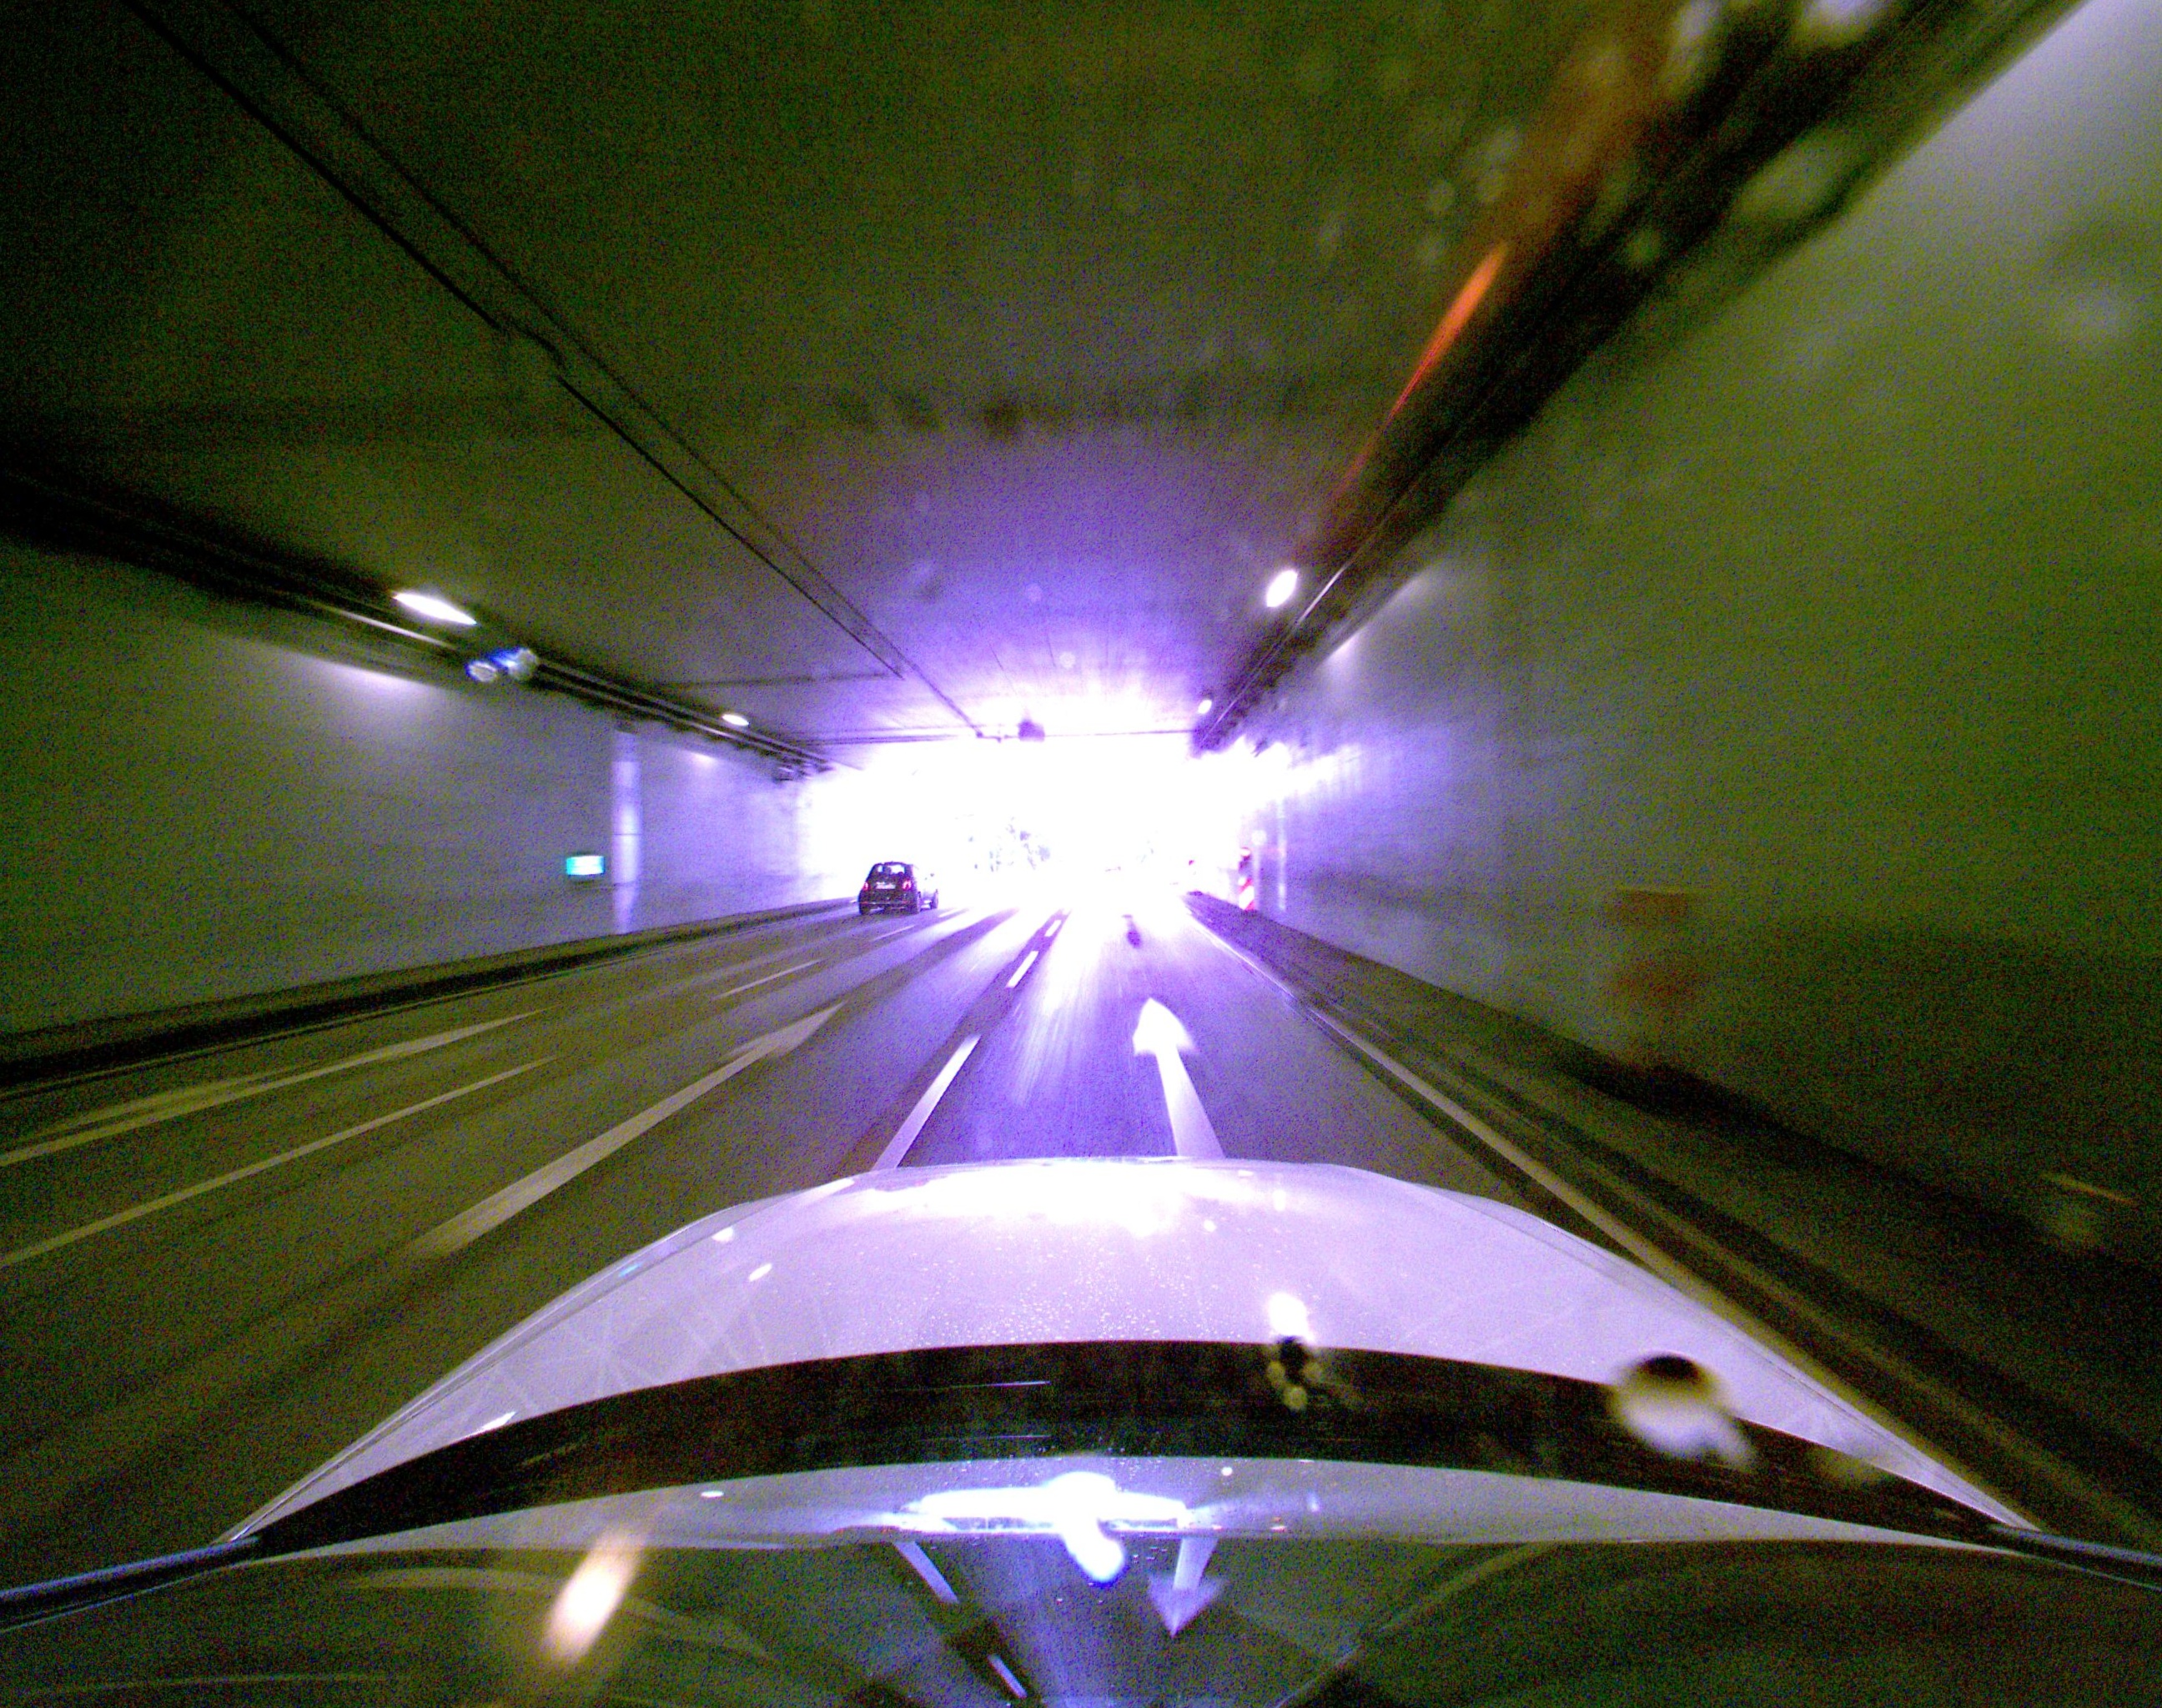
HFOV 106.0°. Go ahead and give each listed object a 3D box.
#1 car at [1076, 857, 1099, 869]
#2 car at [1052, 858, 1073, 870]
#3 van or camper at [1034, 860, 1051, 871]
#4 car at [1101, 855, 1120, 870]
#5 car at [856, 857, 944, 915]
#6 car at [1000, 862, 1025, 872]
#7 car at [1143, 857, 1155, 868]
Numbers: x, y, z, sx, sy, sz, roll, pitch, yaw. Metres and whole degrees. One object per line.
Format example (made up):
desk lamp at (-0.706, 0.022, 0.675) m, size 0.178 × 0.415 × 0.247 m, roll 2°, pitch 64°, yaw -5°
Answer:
car at (0.906, 1.448, 124.279) m, size 1.901 × 1.684 × 3.966 m, roll -3°, pitch 0°, yaw -25°
car at (-2.992, 1.613, 132.114) m, size 1.902 × 1.683 × 3.966 m, roll -5°, pitch 1°, yaw -26°
van or camper at (-7.346, 2.170, 155.281) m, size 2.116 × 2.013 × 5.328 m, roll -4°, pitch -1°, yaw 9°
car at (3.342, 0.942, 91.336) m, size 1.986 × 1.448 × 4.315 m, roll -4°, pitch -1°, yaw 1°
car at (-5.097, 0.858, 23.395) m, size 1.606 × 1.454 × 3.573 m, roll -2°, pitch 0°, yaw 1°
car at (-11.741, 2.231, 139.851) m, size 3.948 × 1.514 × 1.910 m, roll -4°, pitch 1°, yaw 33°
car at (13.495, 1.688, 161.658) m, size 1.986 × 2.013 × 4.001 m, roll -3°, pitch -1°, yaw 1°
